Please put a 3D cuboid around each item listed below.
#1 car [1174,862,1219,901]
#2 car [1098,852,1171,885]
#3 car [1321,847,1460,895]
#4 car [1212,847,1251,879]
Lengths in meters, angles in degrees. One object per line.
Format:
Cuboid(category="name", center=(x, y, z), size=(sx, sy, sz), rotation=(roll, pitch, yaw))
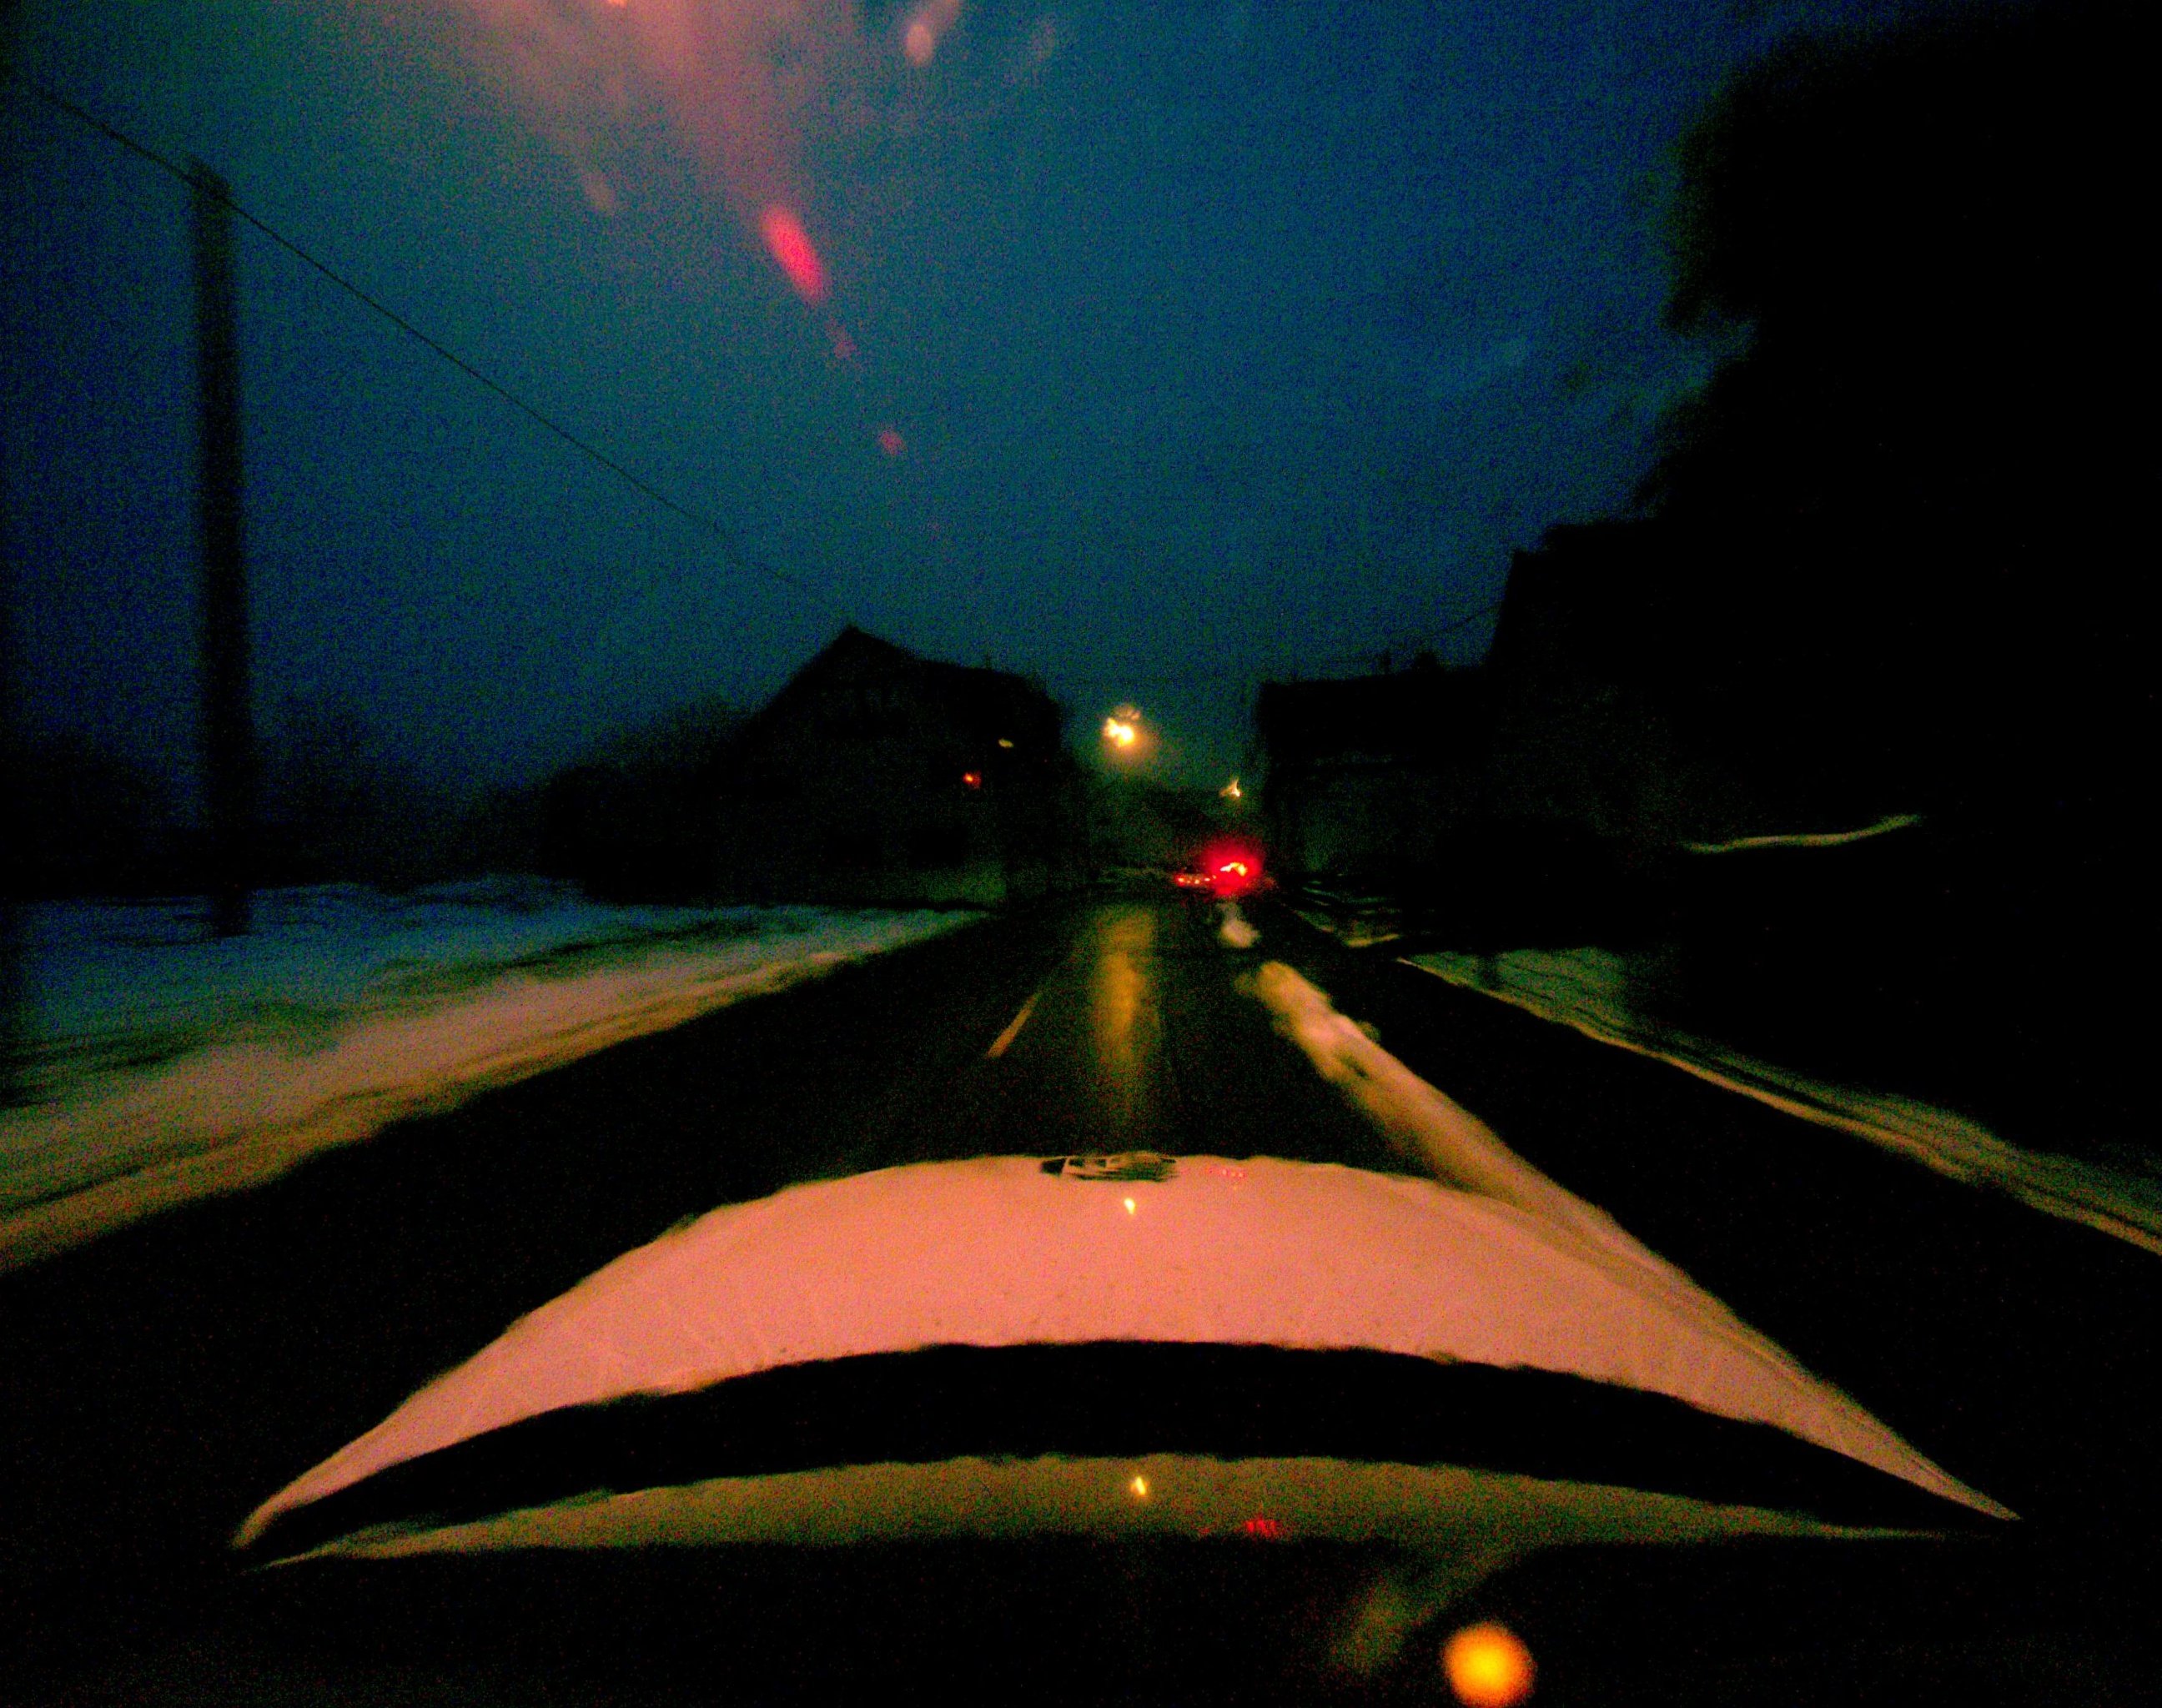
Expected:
Cuboid(category="car", center=(5.723, 1.310, 40.000), size=(1.981, 1.507, 4.012), rotation=(-4, 2, 10))
Cuboid(category="car", center=(3.801, 1.036, 57.915), size=(4.689, 2.013, 2.012), rotation=(-4, 2, 24))
Cuboid(category="car", center=(9.952, 0.530, 26.460), size=(3.964, 1.453, 1.719), rotation=(0, 2, 8))
Cuboid(category="car", center=(10.229, 0.593, 55.259), size=(1.978, 1.837, 4.019), rotation=(-4, 2, 18))
